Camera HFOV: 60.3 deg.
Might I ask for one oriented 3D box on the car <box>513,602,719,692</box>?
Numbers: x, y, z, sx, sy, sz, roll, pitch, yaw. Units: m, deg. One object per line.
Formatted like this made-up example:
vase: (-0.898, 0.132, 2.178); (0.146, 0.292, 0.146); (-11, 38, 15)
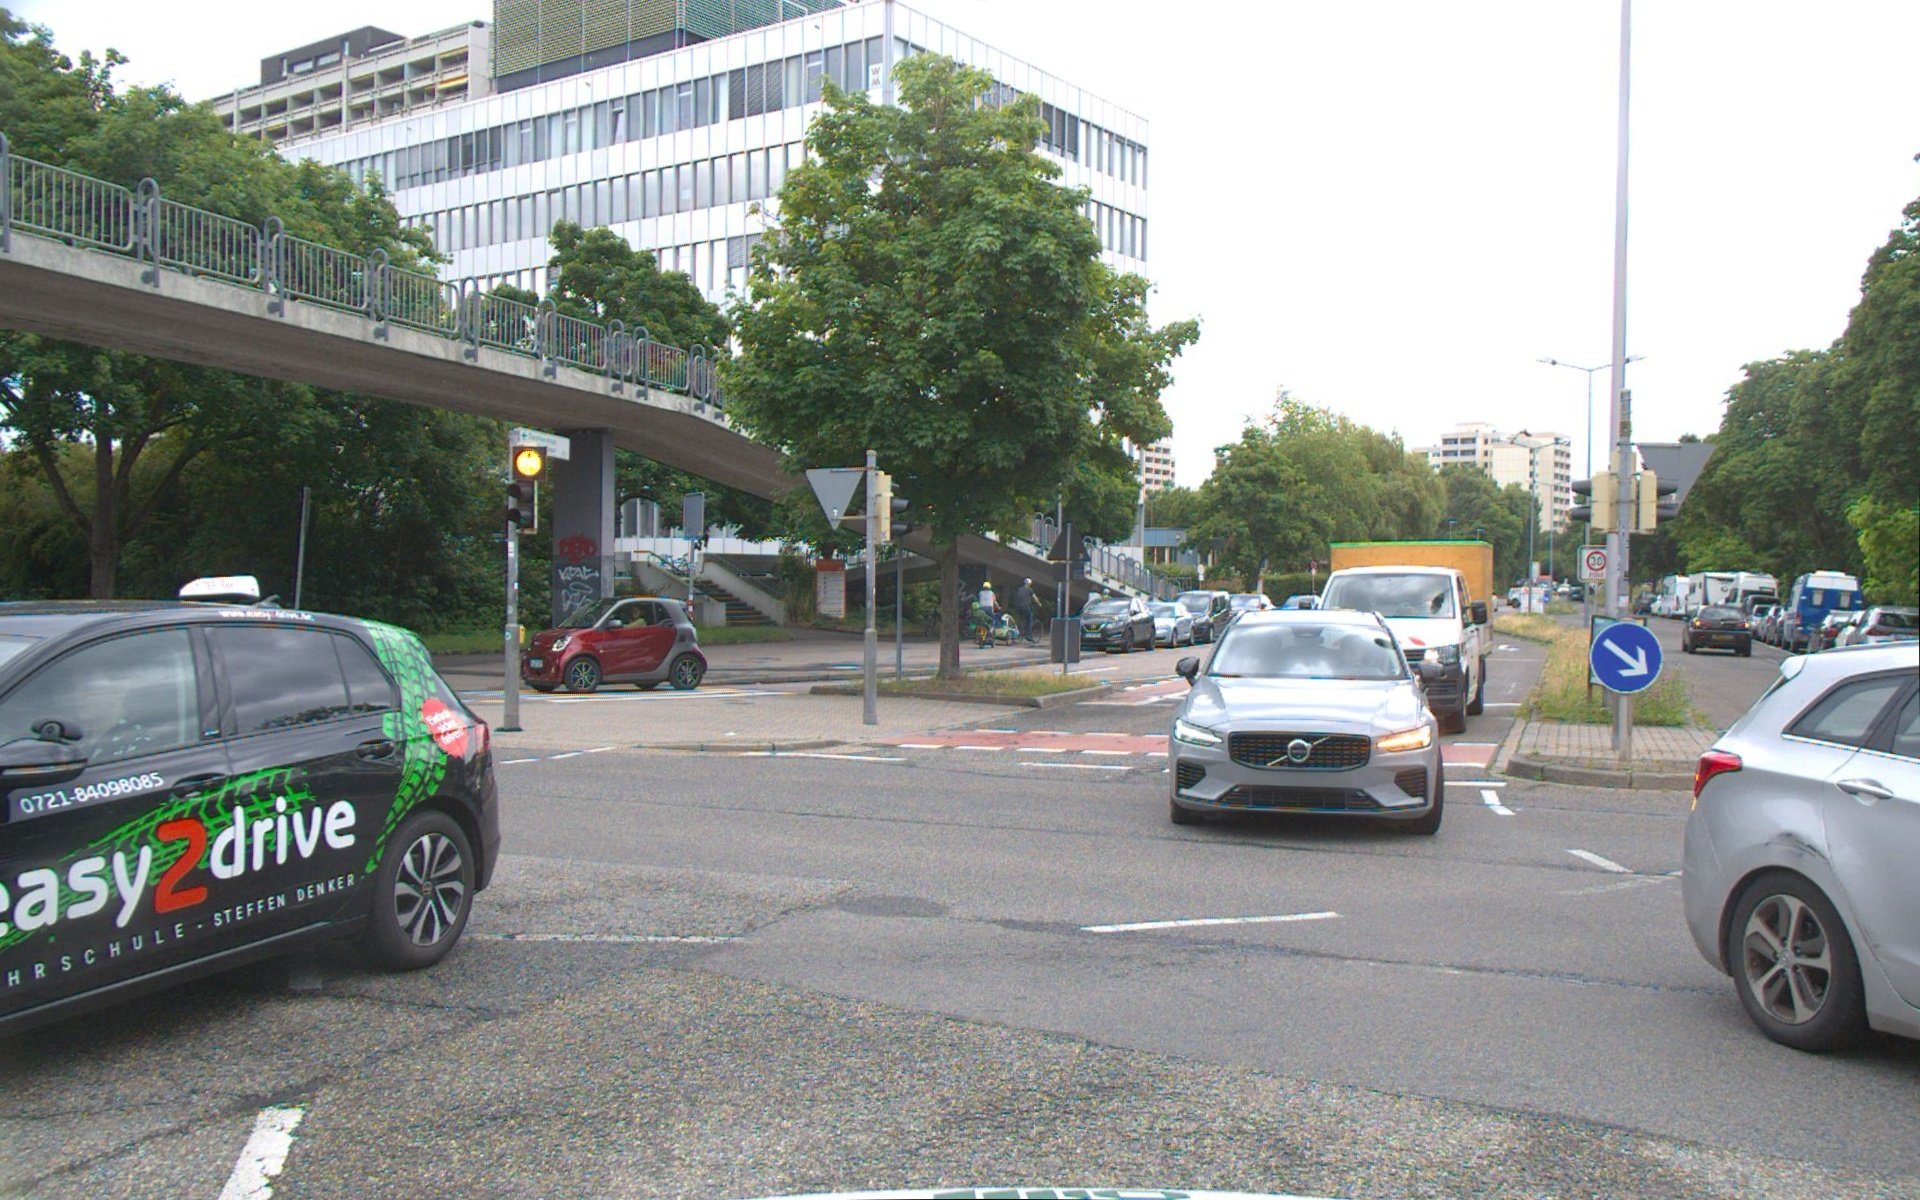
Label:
car: (-5.618, 0.732, 27.100); (2.944, 1.369, 1.541); (0, 1, -40)

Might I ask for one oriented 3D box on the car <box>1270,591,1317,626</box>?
car: (15.822, 0.385, 78.360); (1.637, 1.579, 4.001); (1, 1, 20)

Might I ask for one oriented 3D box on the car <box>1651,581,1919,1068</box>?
car: (4.084, 0.732, 4.691); (1.758, 1.545, 4.311); (1, 1, -13)

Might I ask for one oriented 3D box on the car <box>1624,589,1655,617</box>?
car: (49.065, 0.199, 119.505); (1.616, 1.951, 3.922); (1, 1, 15)

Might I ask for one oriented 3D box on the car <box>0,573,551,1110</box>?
car: (-3.327, 0.663, 5.428); (1.733, 1.503, 4.391); (1, 1, 19)

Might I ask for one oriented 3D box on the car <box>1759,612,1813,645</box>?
car: (30.053, 1.032, 60.239); (1.296, 1.123, 2.806); (1, 0, 17)

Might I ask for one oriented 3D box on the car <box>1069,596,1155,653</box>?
car: (4.577, 0.698, 49.297); (1.637, 1.579, 3.893); (1, 1, 20)

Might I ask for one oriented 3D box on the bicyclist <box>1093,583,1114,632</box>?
bicyclist: (4.952, 0.252, 57.102); (0.553, 1.673, 0.531); (1, 0, 22)

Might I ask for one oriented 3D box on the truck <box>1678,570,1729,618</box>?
truck: (42.091, -0.314, 93.743); (1.951, 2.617, 5.381); (1, 0, 17)

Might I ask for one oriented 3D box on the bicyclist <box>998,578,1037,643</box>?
bicyclist: (1.757, 0.307, 50.219); (0.838, 1.926, 1.128); (1, 1, 21)

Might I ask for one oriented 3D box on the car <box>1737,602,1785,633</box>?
car: (33.588, 0.703, 69.407); (1.296, 1.211, 3.655); (1, 1, 17)

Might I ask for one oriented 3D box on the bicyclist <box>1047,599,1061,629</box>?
bicyclist: (4.061, 0.606, 71.449); (0.422, 1.239, 0.567); (1, -2, 18)

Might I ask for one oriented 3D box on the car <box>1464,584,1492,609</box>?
car: (35.734, -0.248, 114.083); (1.610, 1.621, 4.000); (1, 0, 21)

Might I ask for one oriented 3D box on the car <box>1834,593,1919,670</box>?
car: (22.000, 0.706, 39.080); (1.747, 1.691, 4.002); (1, 1, 19)

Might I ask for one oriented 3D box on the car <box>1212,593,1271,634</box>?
car: (11.267, 0.514, 66.092); (1.637, 1.579, 4.001); (1, 1, 20)

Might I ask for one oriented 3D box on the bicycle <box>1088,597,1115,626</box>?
bicycle: (4.888, 0.384, 57.083); (0.515, 0.965, 1.709); (1, 1, 20)

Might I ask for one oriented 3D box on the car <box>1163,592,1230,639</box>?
car: (8.522, 0.540, 59.384); (1.637, 1.579, 3.763); (1, 1, 20)

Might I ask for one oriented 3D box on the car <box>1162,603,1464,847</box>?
car: (2.788, 0.780, 12.782); (1.856, 1.445, 4.740); (1, 1, 14)

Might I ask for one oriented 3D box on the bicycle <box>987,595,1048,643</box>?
bicycle: (1.769, 0.545, 50.217); (0.838, 1.338, 3.230); (1, 1, 21)

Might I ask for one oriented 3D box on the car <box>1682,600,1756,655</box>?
car: (22.677, 0.792, 49.559); (1.761, 1.482, 4.541); (1, 1, 22)

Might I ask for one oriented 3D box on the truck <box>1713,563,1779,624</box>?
truck: (38.935, -0.335, 82.045); (1.951, 2.887, 5.735); (1, 0, 15)

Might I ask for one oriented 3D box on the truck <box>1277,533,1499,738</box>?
truck: (5.660, 0.358, 21.246); (2.111, 2.237, 5.841); (1, 1, 21)

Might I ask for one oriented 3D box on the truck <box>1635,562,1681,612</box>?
truck: (44.046, -0.798, 104.513); (1.951, 3.061, 5.775); (1, 0, 16)

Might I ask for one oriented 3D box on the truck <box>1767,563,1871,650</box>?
truck: (28.289, 0.204, 54.676); (2.129, 2.703, 6.248); (0, 0, 19)

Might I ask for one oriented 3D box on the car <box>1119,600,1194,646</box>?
car: (6.502, 0.730, 54.447); (1.637, 1.411, 3.896); (1, 1, 20)

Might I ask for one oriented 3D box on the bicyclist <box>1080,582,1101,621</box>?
bicyclist: (4.222, 0.047, 53.556); (0.397, 1.200, 0.377); (10, 5, 21)
